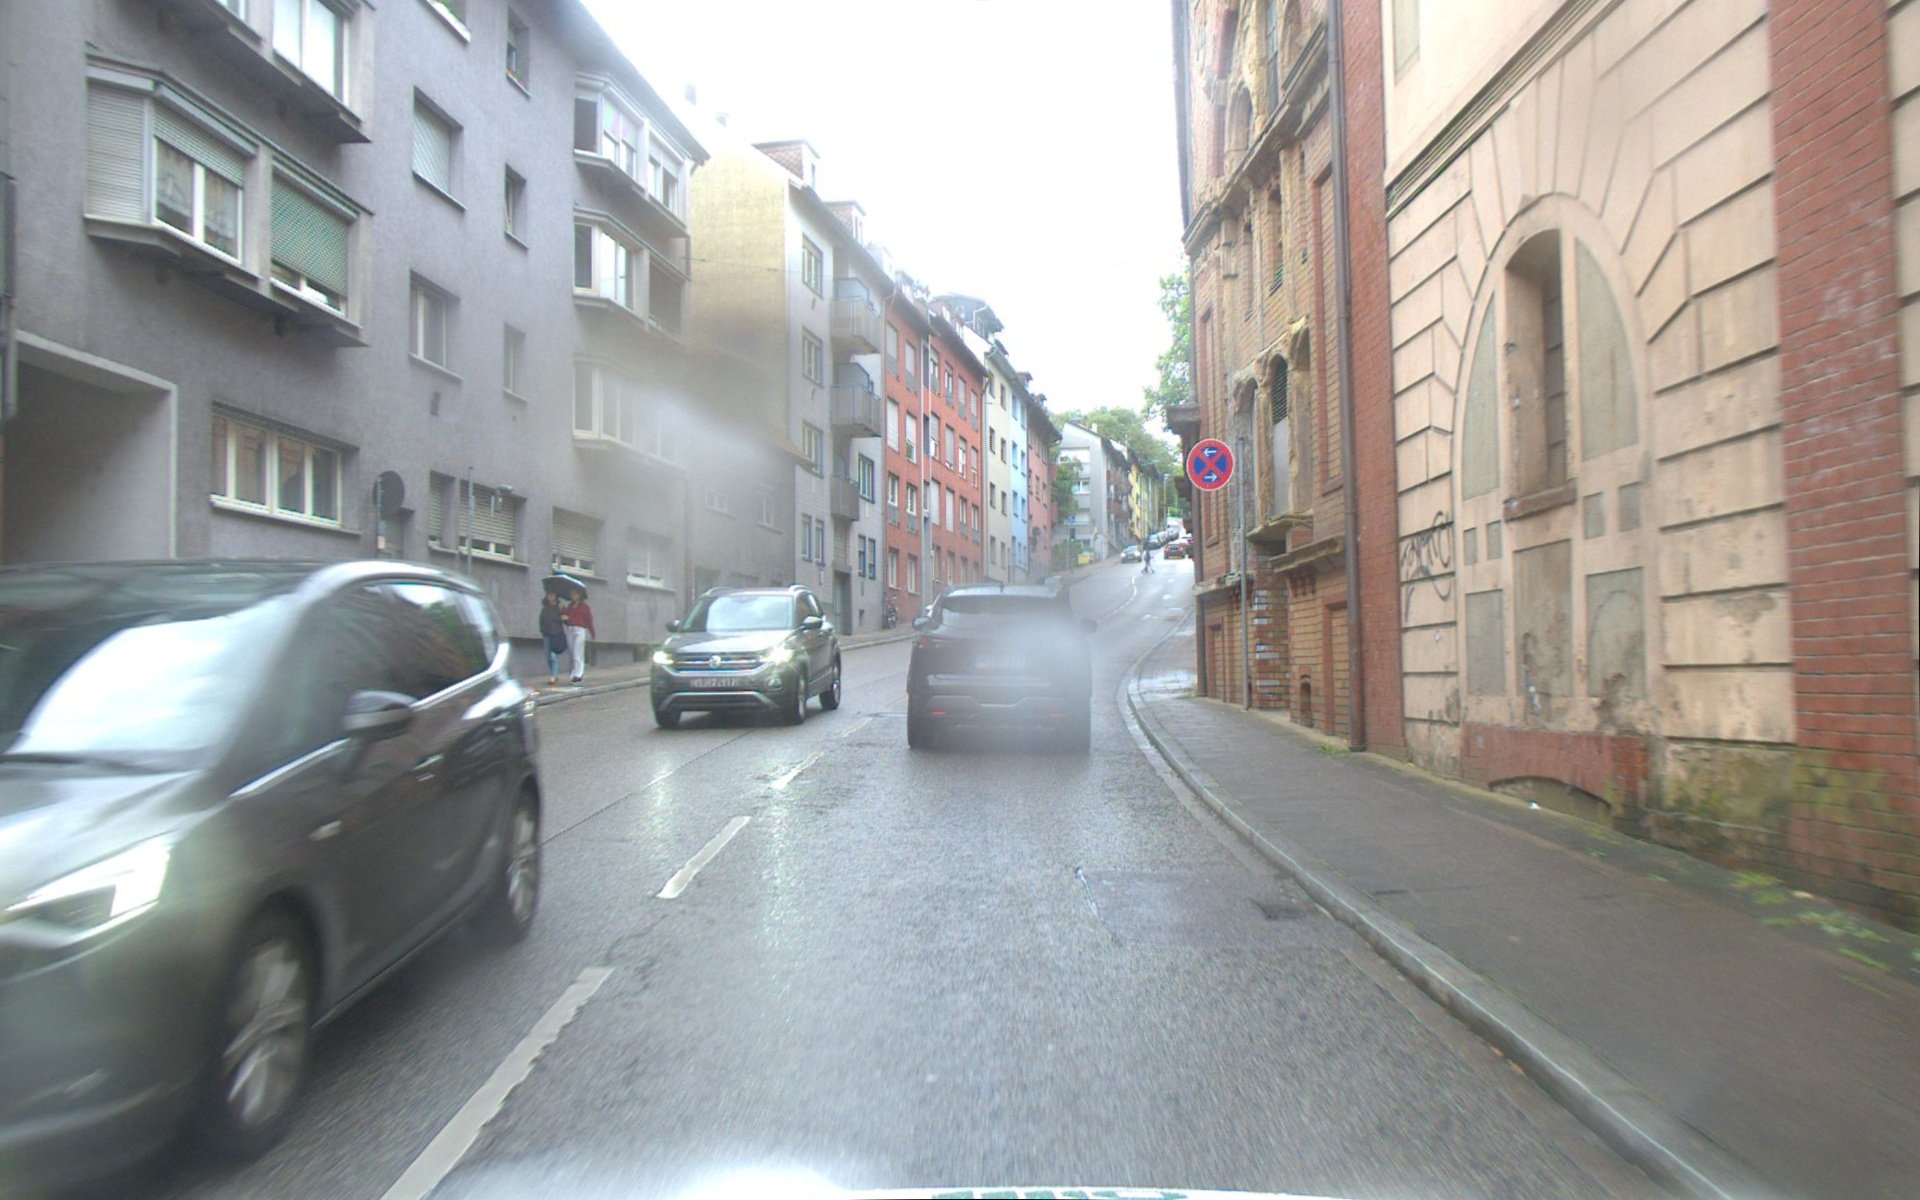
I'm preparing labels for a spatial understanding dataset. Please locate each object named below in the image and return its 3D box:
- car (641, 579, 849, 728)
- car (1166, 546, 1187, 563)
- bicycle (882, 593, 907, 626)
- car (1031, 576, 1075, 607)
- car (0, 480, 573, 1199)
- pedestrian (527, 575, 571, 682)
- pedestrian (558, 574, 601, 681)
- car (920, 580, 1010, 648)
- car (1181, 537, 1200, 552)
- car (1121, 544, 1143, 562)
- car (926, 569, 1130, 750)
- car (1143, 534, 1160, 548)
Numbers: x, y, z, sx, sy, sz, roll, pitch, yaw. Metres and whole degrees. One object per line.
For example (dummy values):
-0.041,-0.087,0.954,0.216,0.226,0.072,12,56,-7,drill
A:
-2.508,0.594,20.139,1.727,1.604,3.767,-1,0,5,car
20.436,-4.298,156.086,1.756,1.536,4.004,-1,1,10,car
-2.374,0.337,59.756,0.488,1.127,1.802,-1,2,10,bicycle
4.629,-0.426,81.842,1.609,1.402,3.854,-2,1,11,car
-2.638,0.603,5.609,1.728,1.686,3.986,-1,0,-1,car
-7.063,0.474,28.452,0.512,1.807,0.623,-2,1,4,pedestrian
-6.533,0.464,28.431,0.512,1.807,0.623,-2,1,4,pedestrian
0.174,0.336,41.702,1.727,1.604,4.039,-1,0,7,car
23.958,-5.758,171.875,1.756,1.536,4.004,-1,1,10,car
15.290,-4.172,146.953,1.677,1.473,3.925,-2,2,9,car
0.612,0.543,17.171,1.843,1.621,3.920,-1,0,-1,car
22.368,-6.875,192.739,1.756,1.536,4.004,-1,1,10,car
